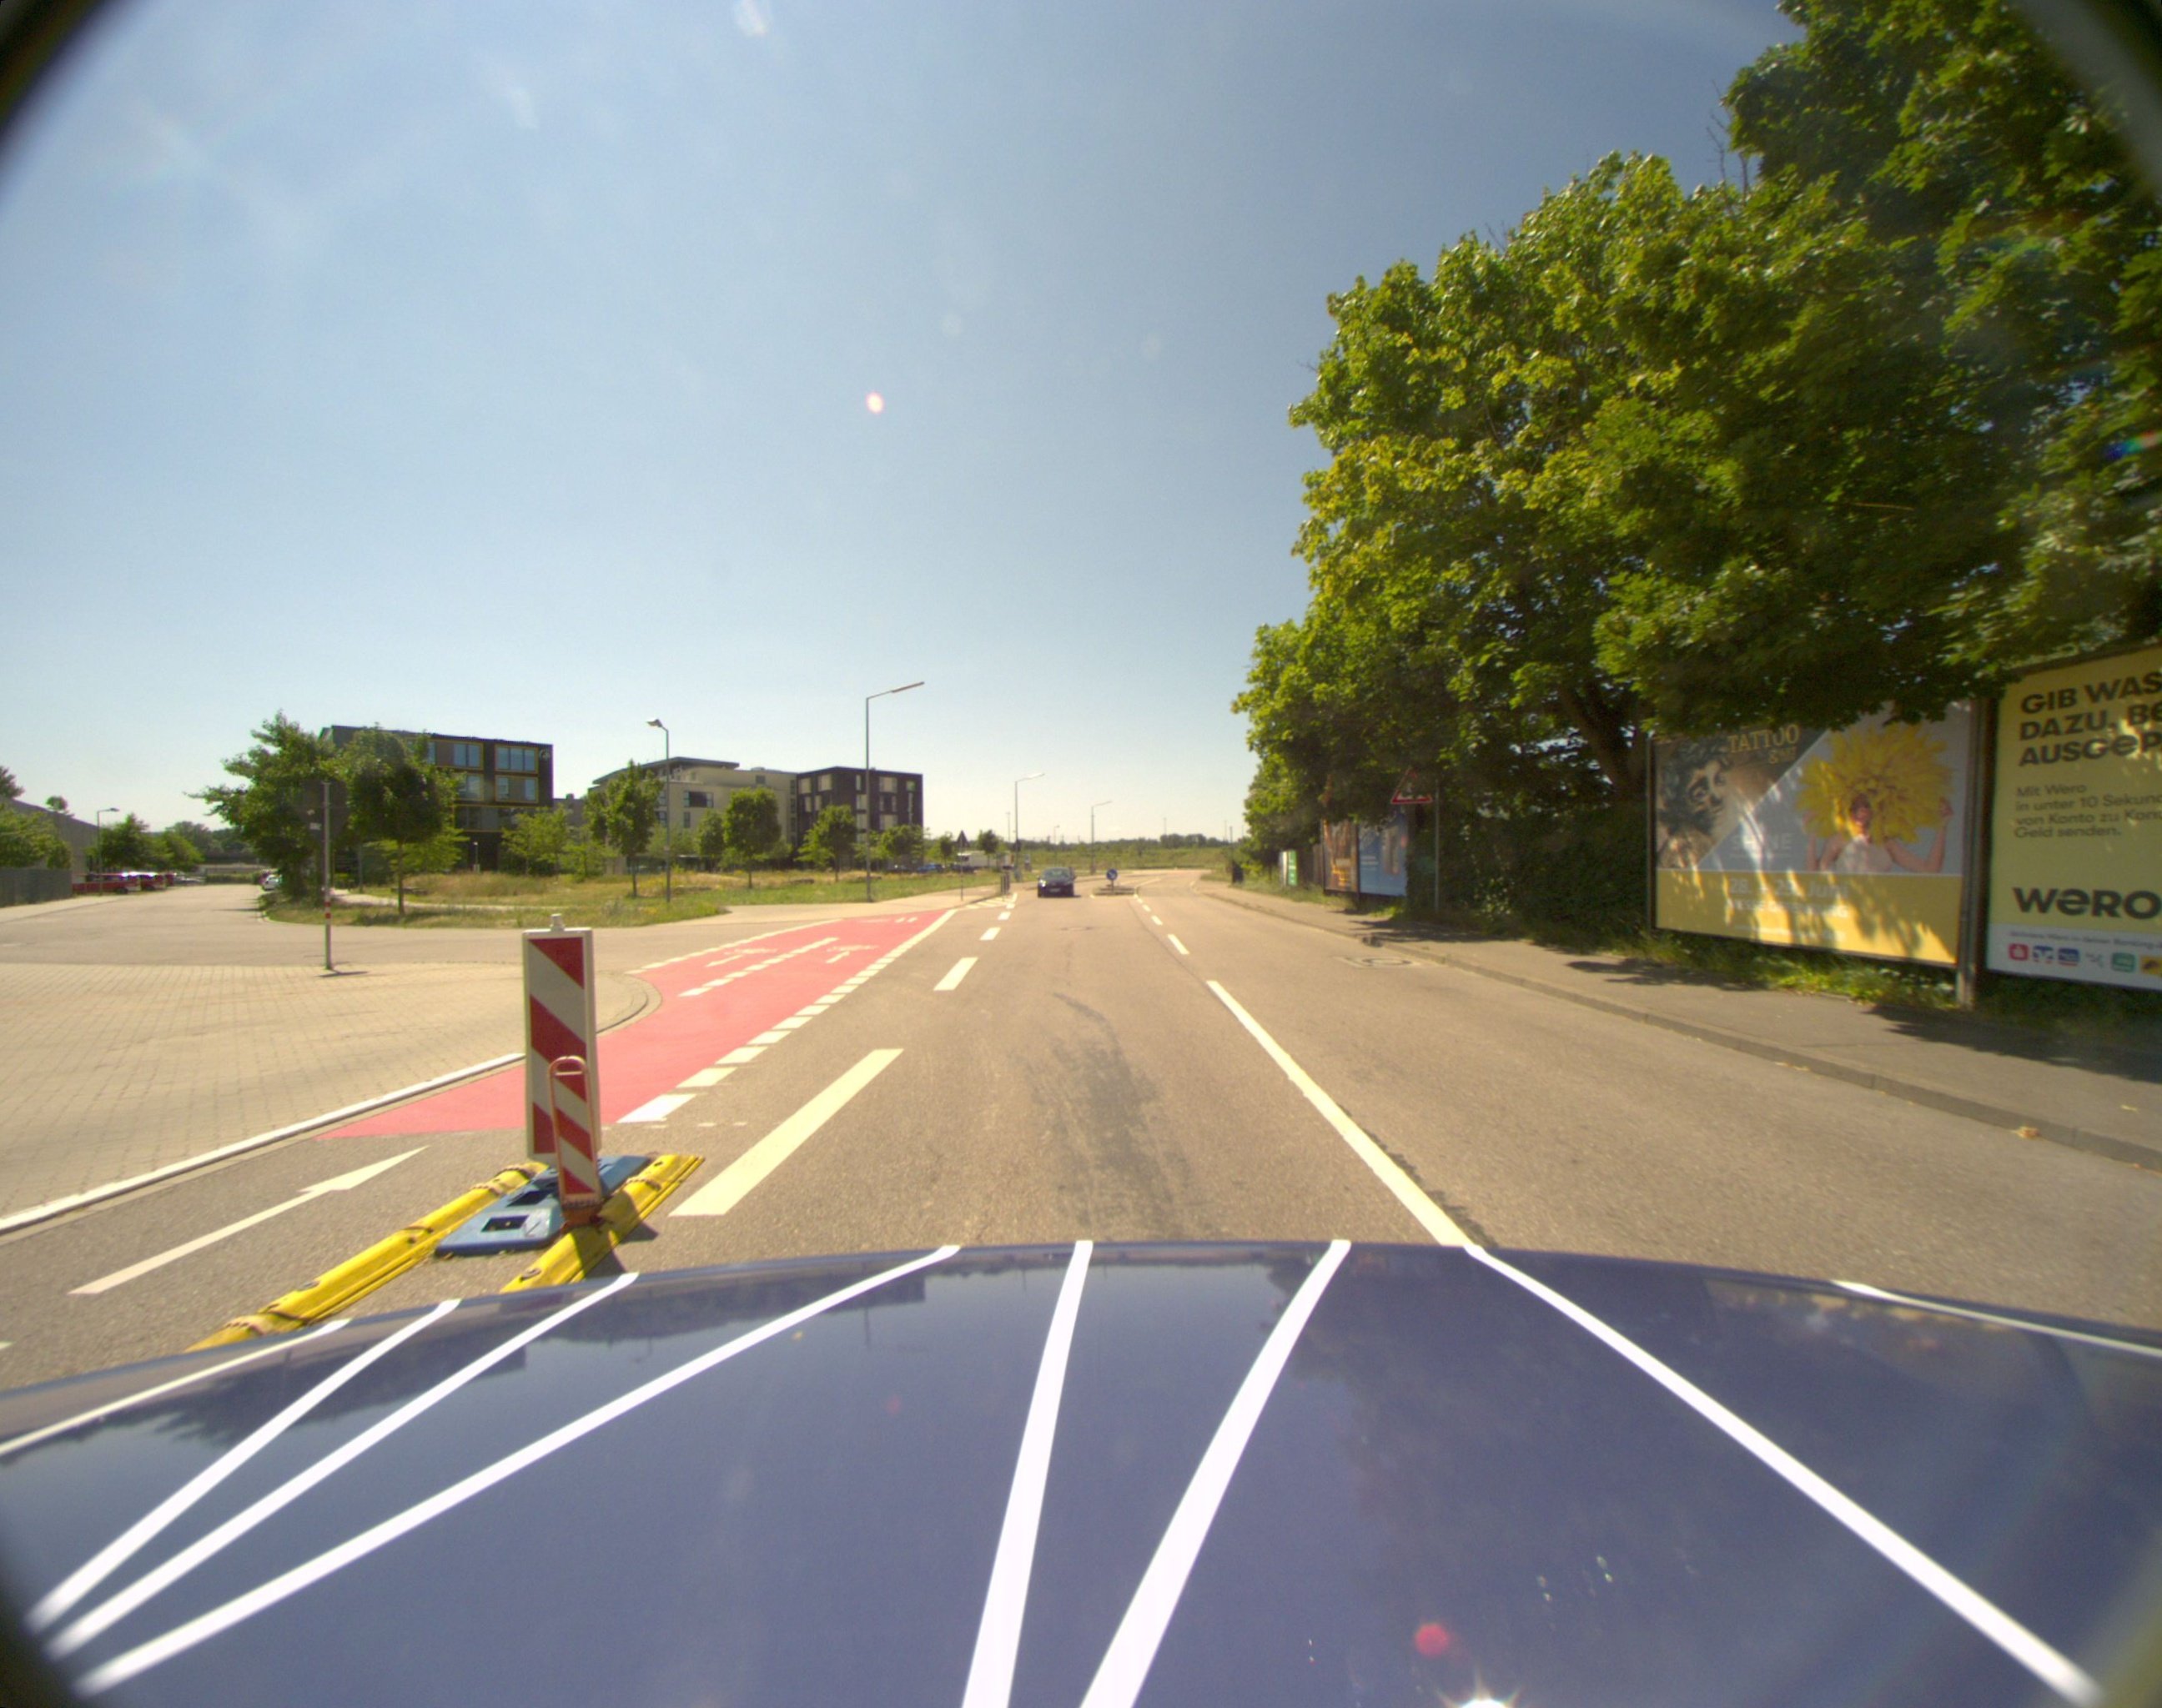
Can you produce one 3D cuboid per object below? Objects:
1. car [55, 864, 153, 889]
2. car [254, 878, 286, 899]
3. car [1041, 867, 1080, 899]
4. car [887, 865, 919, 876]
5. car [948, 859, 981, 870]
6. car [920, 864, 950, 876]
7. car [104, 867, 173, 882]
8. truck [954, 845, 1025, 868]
[{"bbox_3d":[-86.838,1.985,67.670,2.230,2.103,5.172,-1,-1,44],"label":"car"},{"bbox_3d":[-76.540,3.250,71.774,3.483,1.917,1.964,-2,-1,44],"label":"car"},{"bbox_3d":[-0.951,1.348,36.846,1.653,1.458,4.160,0,-1,2],"label":"car"},{"bbox_3d":[-23.161,2.151,98.847,4.114,1.436,1.966,0,-1,37],"label":"car"},{"bbox_3d":[-16.220,1.426,105.566,4.495,1.552,2.036,-1,0,41],"label":"car"},{"bbox_3d":[-19.749,2.125,102.501,4.059,1.642,1.959,0,-1,42],"label":"car"},{"bbox_3d":[-99.586,2.172,80.388,1.798,1.501,4.535,0,-1,40],"label":"car"},{"bbox_3d":[-14.707,0.448,123.625,3.009,3.442,12.166,2,1,44],"label":"truck"}]
